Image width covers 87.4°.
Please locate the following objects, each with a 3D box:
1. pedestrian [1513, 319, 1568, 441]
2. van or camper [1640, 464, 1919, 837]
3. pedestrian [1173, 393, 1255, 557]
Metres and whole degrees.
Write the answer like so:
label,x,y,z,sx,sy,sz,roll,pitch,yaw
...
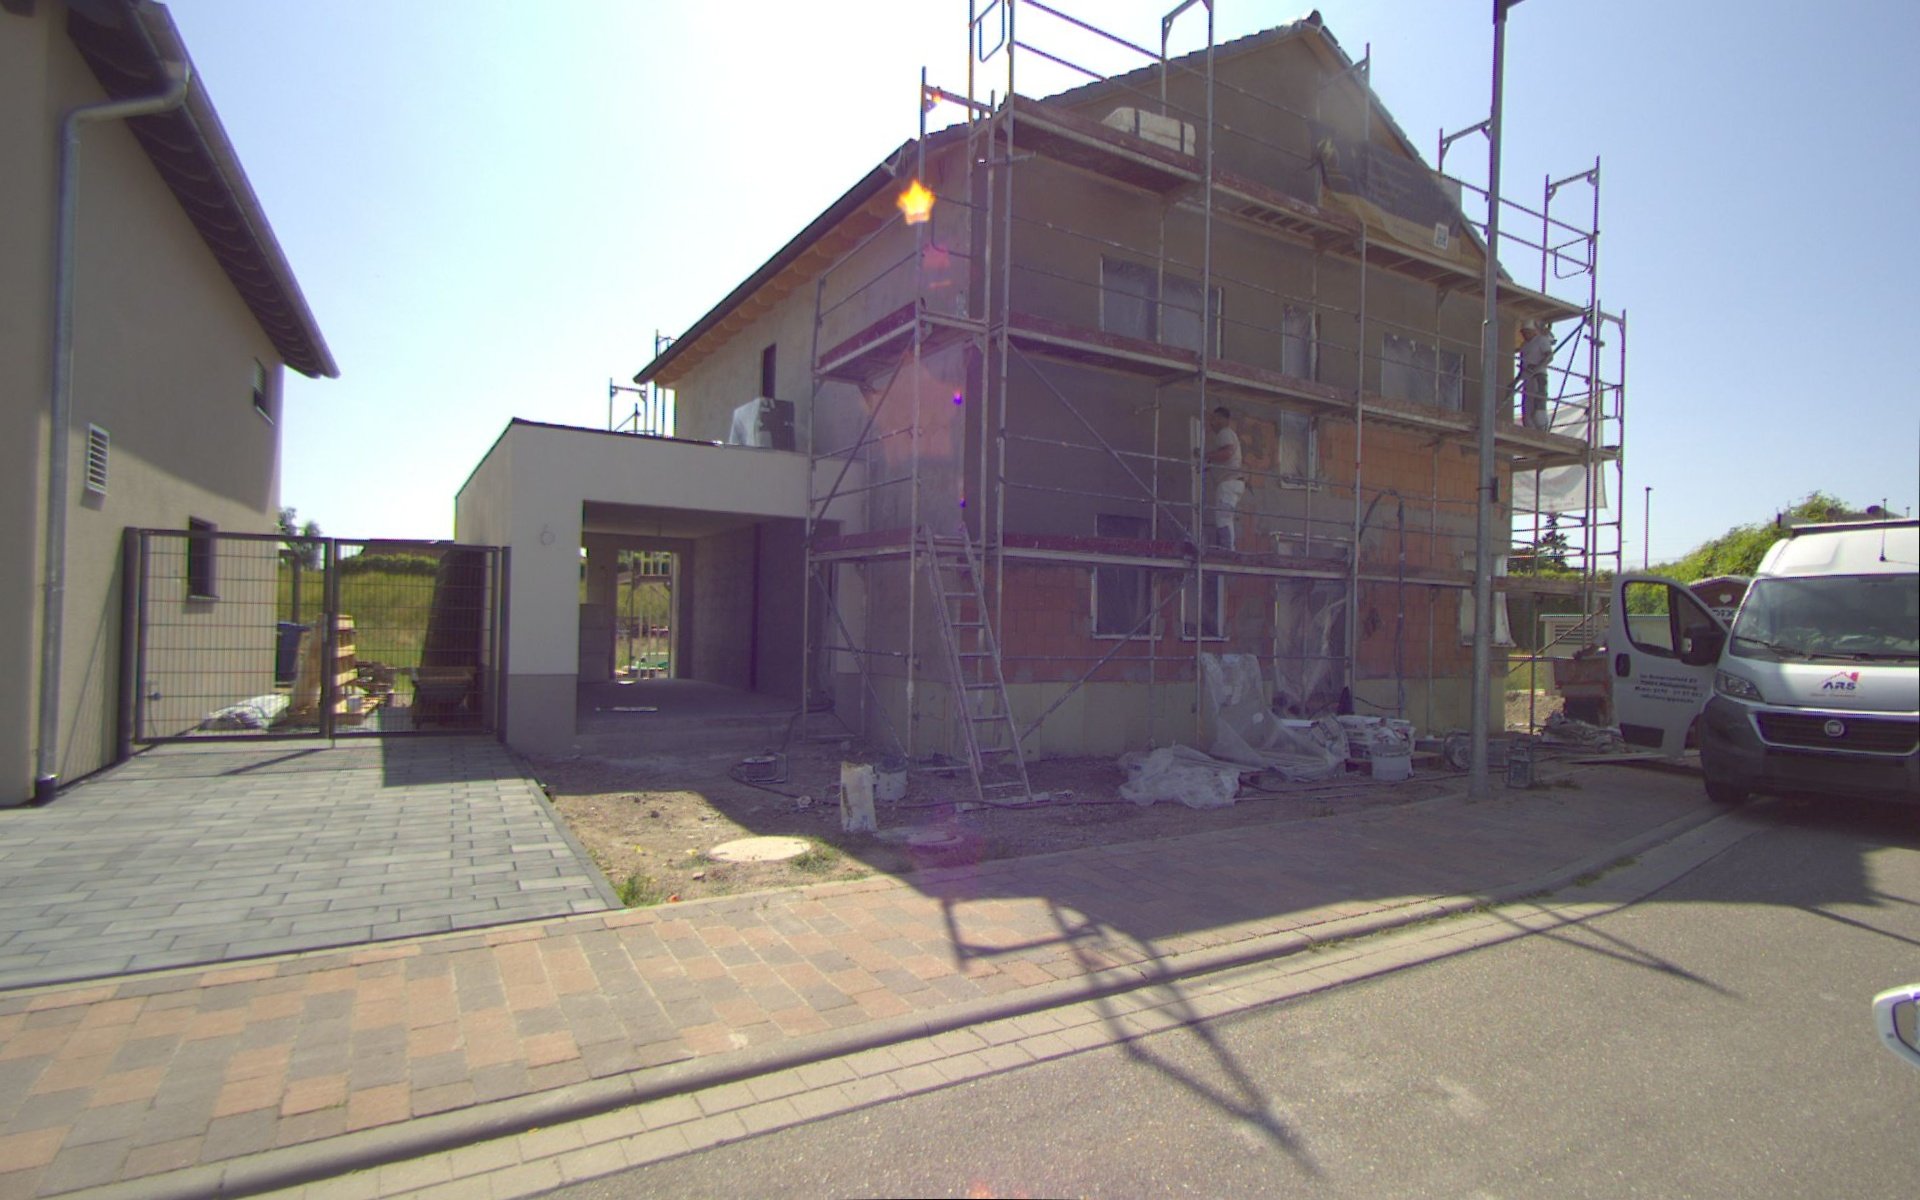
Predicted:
label,x,y,z,sx,sy,sz,roll,pitch,yaw
pedestrian,8.171,-3.076,14.163,0.552,1.519,0.748,2,-2,23
van or camper,8.842,0.479,9.337,6.309,2.587,2.256,3,-2,-37
pedestrian,2.819,-1.357,11.133,0.734,1.701,0.578,2,-2,25
